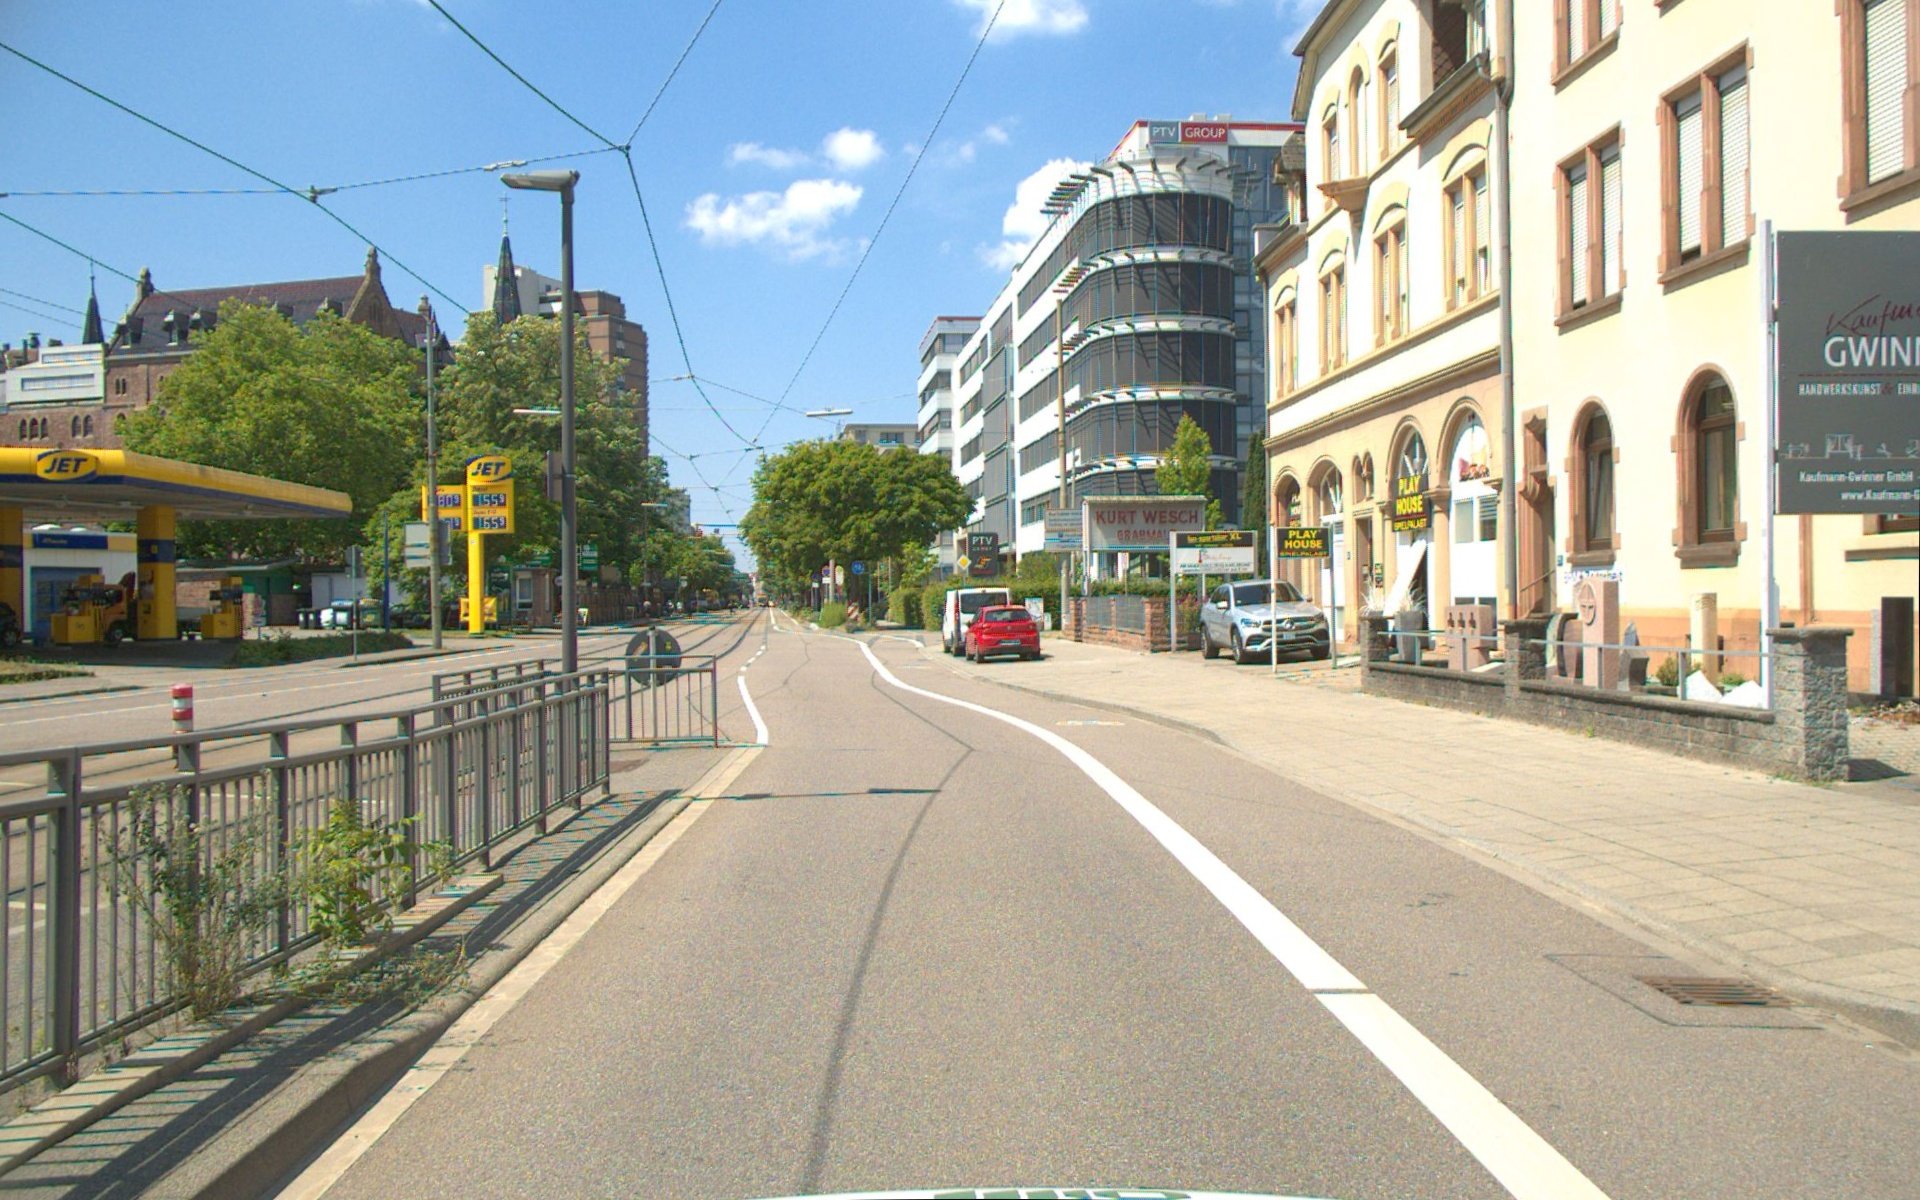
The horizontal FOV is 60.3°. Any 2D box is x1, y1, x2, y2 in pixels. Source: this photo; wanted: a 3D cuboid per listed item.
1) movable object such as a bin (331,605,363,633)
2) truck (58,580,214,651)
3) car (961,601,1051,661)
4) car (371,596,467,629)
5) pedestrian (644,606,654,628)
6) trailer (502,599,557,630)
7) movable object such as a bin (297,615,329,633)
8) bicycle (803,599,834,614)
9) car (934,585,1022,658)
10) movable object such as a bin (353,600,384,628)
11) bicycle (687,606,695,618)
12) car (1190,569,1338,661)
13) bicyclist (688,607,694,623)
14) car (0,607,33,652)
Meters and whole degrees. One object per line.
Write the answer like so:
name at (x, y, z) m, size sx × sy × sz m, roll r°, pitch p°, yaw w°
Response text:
movable object such as a bin at (-31.025, 0.949, 83.673) m, size 1.316 × 1.378 × 0.759 m, roll -1°, pitch 0°, yaw 5°
truck at (-30.840, 0.570, 62.070) m, size 1.953 × 2.542 × 5.201 m, roll -1°, pitch -1°, yaw 24°
car at (1.191, 0.807, 44.409) m, size 1.955 × 1.467 × 4.013 m, roll -2°, pitch 0°, yaw -5°
car at (-27.628, 0.640, 84.603) m, size 1.961 × 1.618 × 4.315 m, roll -1°, pitch 0°, yaw 37°
pedestrian at (-26.162, 1.434, 139.136) m, size 0.799 × 1.801 × 0.923 m, roll 0°, pitch -1°, yaw -7°
trailer at (-24.587, 0.826, 94.493) m, size 2.775 × 1.733 × 1.619 m, roll 0°, pitch 0°, yaw -6°
movable object such as a bin at (-32.981, 1.201, 84.333) m, size 1.315 × 0.888 × 0.759 m, roll -1°, pitch 0°, yaw 13°
bicycle at (-11.511, 0.528, 134.319) m, size 2.460 × 1.231 × 0.647 m, roll -1°, pitch 0°, yaw -3°
car at (0.489, 0.622, 51.087) m, size 1.956 × 2.026 × 5.507 m, roll -3°, pitch 0°, yaw -6°
movable object such as a bin at (-29.678, 0.696, 82.940) m, size 1.319 × 1.378 × 0.757 m, roll -1°, pitch 0°, yaw -9°
bicycle at (-27.942, 1.239, 171.683) m, size 0.687 × 1.225 × 2.237 m, roll -3°, pitch 0°, yaw -7°
car at (6.205, 0.288, 34.307) m, size 1.841 × 1.652 × 4.636 m, roll -4°, pitch 0°, yaw -4°
bicyclist at (-27.932, 1.572, 171.810) m, size 0.630 × 1.709 × 0.813 m, roll -1°, pitch 0°, yaw -8°
car at (-33.397, 1.008, 54.910) m, size 1.953 × 1.505 × 4.342 m, roll -1°, pitch 0°, yaw 22°
